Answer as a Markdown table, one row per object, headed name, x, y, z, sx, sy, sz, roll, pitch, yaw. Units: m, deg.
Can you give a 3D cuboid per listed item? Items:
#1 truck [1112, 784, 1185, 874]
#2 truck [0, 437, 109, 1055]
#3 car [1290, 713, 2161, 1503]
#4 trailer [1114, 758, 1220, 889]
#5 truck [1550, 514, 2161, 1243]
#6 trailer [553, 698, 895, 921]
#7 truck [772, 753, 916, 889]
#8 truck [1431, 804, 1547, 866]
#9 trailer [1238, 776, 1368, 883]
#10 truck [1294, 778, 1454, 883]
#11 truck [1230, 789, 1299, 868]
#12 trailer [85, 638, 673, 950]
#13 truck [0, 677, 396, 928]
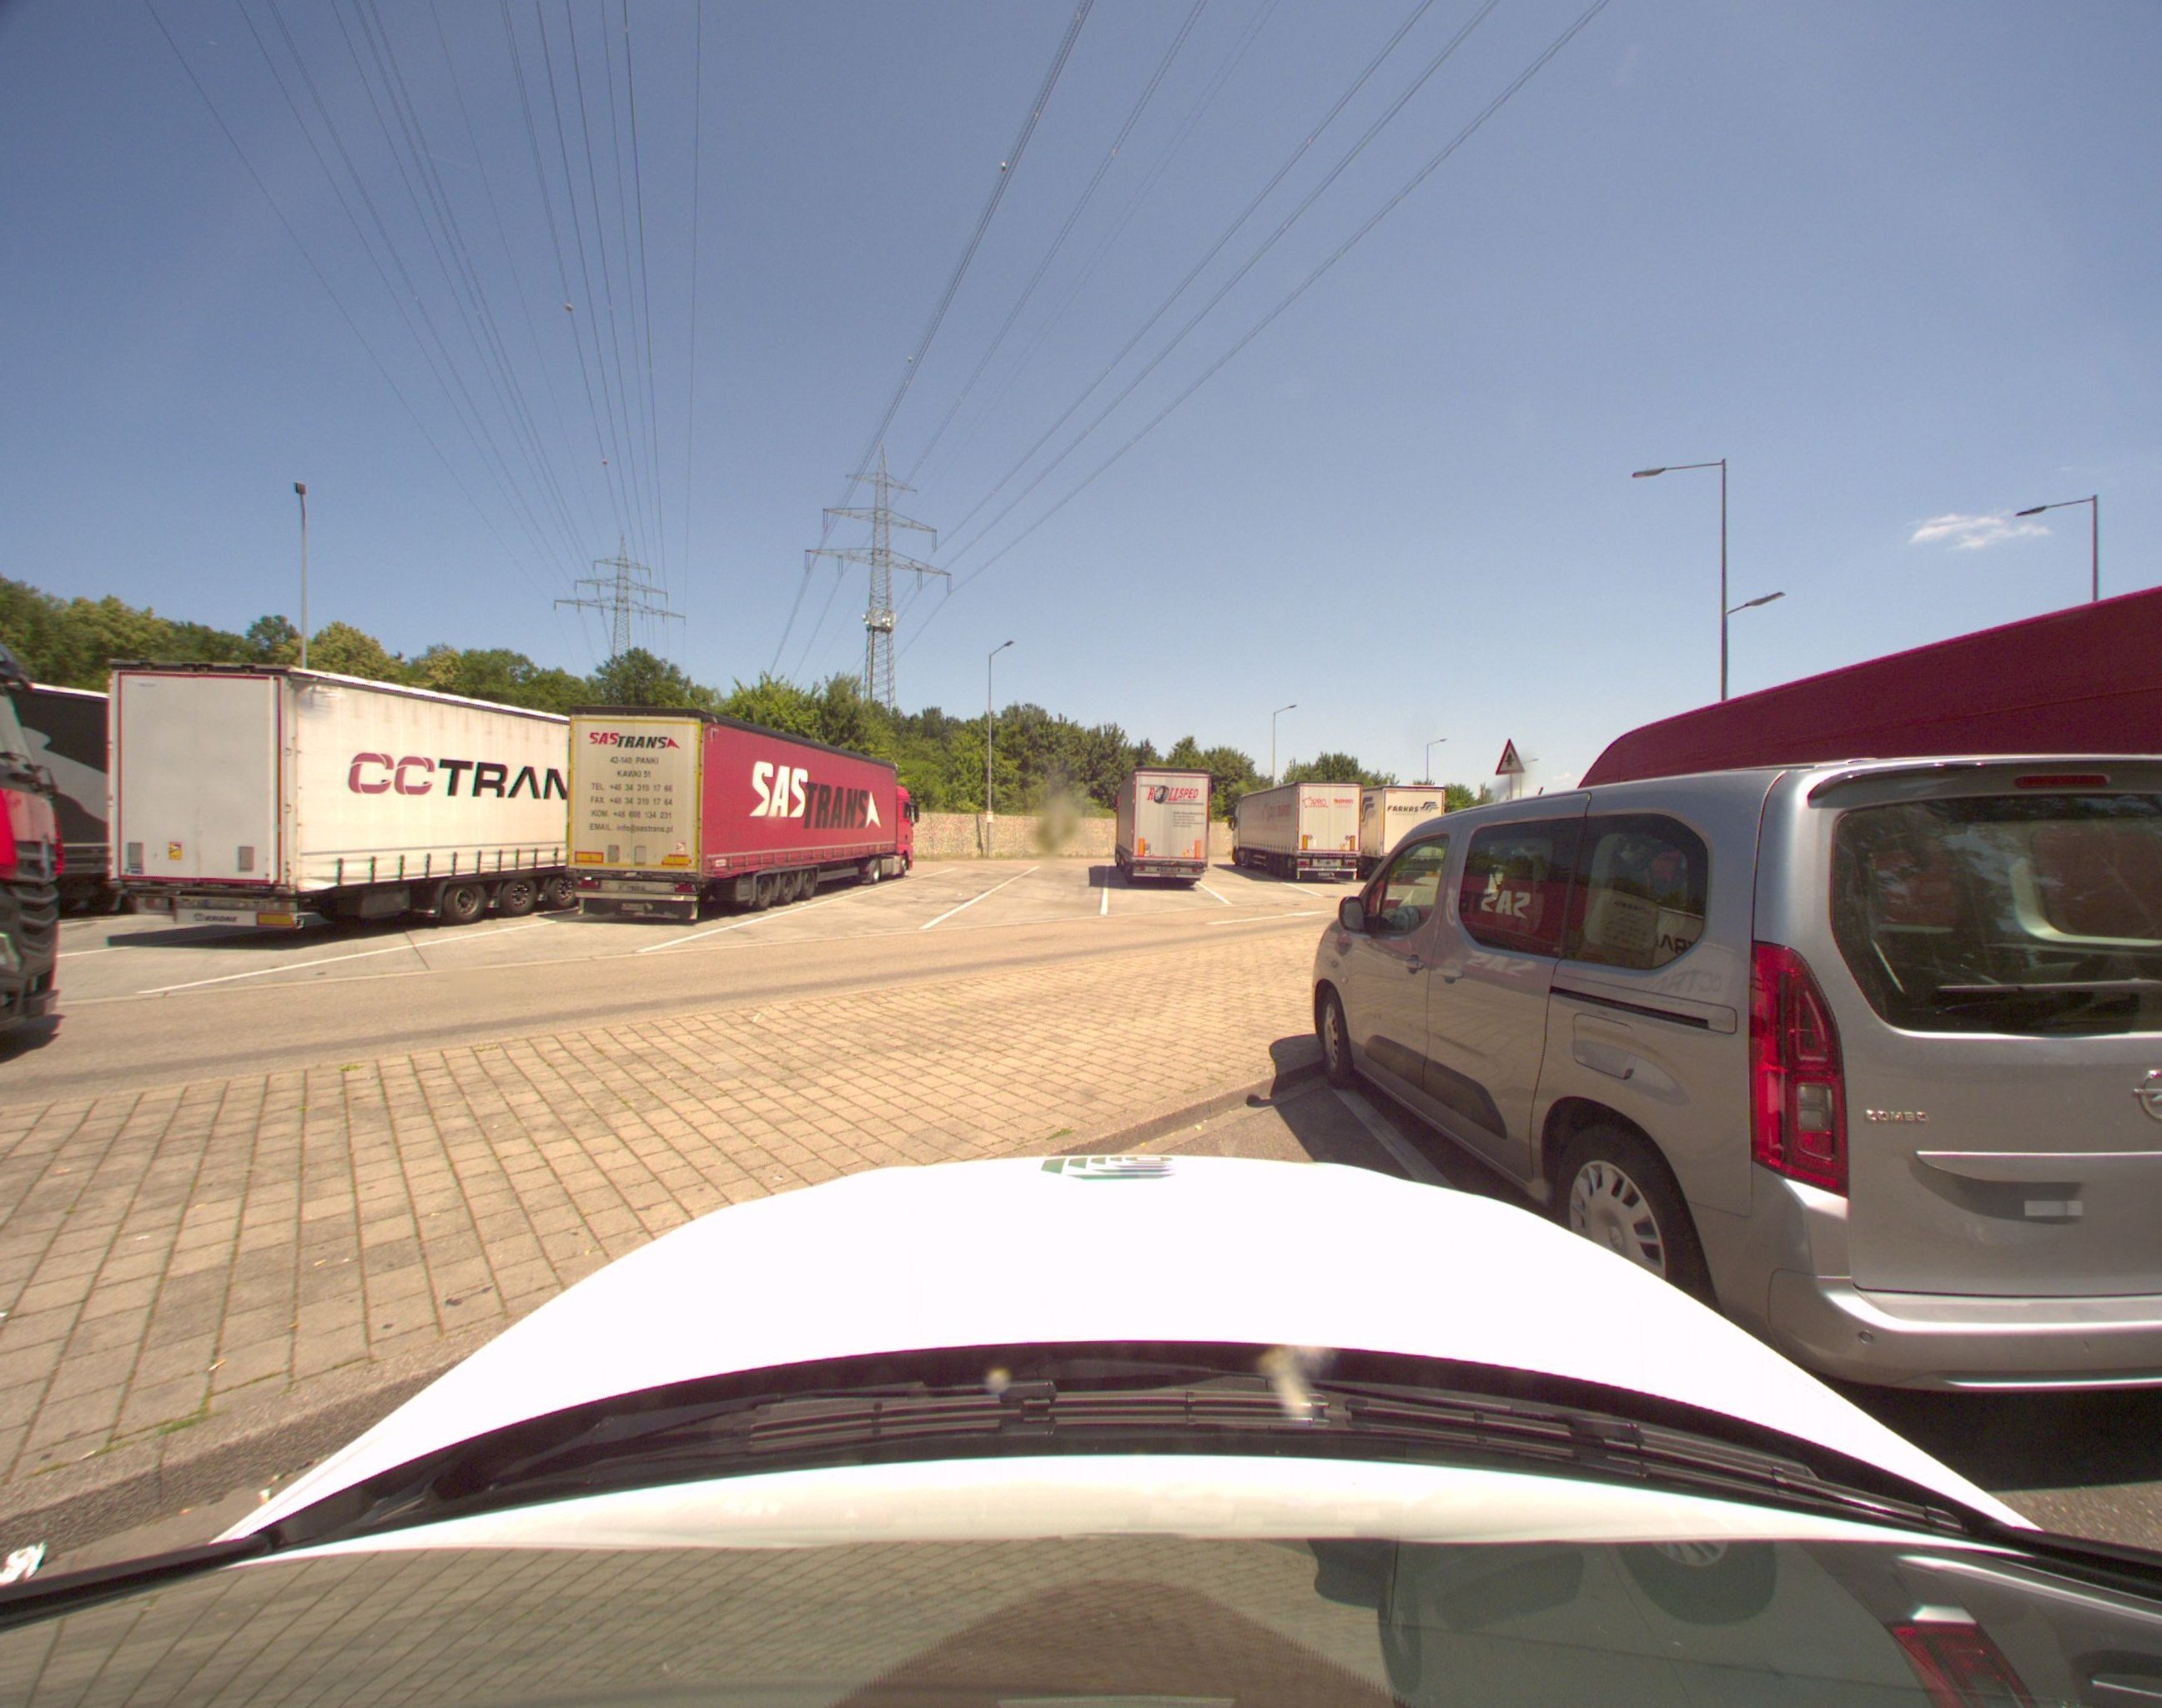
| name | x | y | z | sx | sy | sz | roll | pitch | yaw |
| --- | --- | --- | --- | --- | --- | --- | --- | --- | --- |
| truck | 3.119 | -1.215 | 39.505 | 3.016 | 3.928 | 6.848 | 1 | 2 | 1 |
| truck | -11.771 | -0.633 | 2.741 | 2.660 | 4.127 | 10.668 | 0 | 1 | 45 |
| car | 2.460 | 0.529 | 3.844 | 1.821 | 1.753 | 3.998 | -1 | 1 | -2 |
| trailer | 3.036 | -1.182 | 32.732 | 3.059 | 4.227 | 12.811 | 1 | 2 | 1 |
| truck | 5.090 | 0.050 | 4.866 | 1.983 | 2.623 | 5.312 | -1 | 1 | 6 |
| trailer | -8.054 | -0.915 | 21.546 | 2.739 | 4.057 | 13.292 | -1 | 1 | 2 |
| truck | -7.848 | -1.046 | 28.009 | 2.733 | 4.081 | 6.832 | -1 | 1 | 1 |
| truck | 24.454 | -1.121 | 49.429 | 3.013 | 3.437 | 8.534 | -1 | 1 | 2 |
| trailer | 9.932 | -1.060 | 38.403 | 2.865 | 4.124 | 13.577 | 0 | 1 | 2 |
| truck | 13.566 | -1.051 | 39.647 | 2.894 | 4.124 | 14.533 | 2 | 1 | 2 |
| truck | 10.119 | -1.386 | 45.406 | 2.747 | 4.124 | 5.286 | -1 | 1 | 2 |
| trailer | -12.109 | -0.893 | 16.066 | 2.734 | 4.263 | 9.740 | -1 | 1 | 3 |
| truck | -18.521 | -0.853 | 15.960 | 2.627 | 4.018 | 8.640 | -1 | 1 | 2 |
